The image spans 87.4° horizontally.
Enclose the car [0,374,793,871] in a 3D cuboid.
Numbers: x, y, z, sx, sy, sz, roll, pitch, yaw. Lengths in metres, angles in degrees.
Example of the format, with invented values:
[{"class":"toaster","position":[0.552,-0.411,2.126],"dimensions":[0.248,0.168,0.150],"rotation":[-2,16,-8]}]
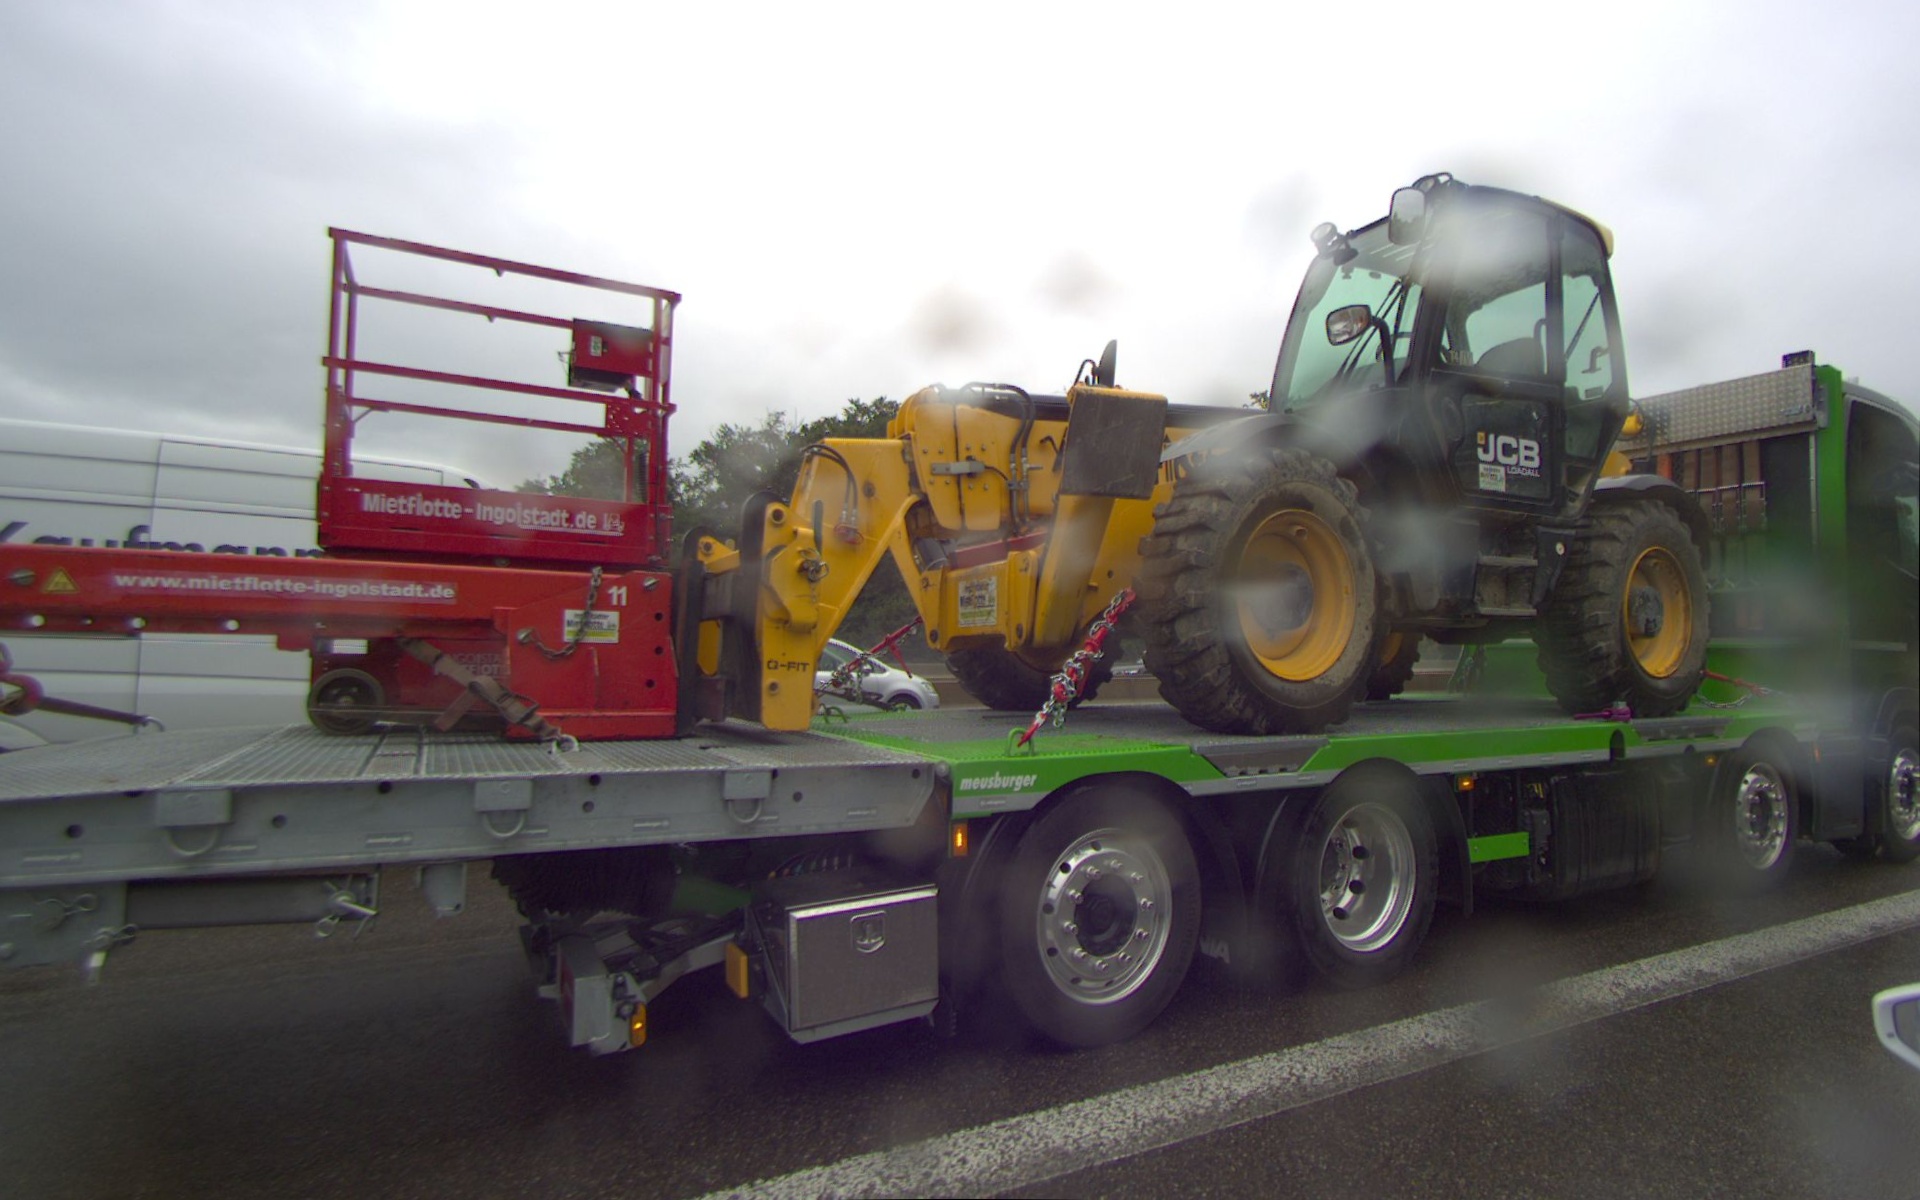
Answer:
[{"class":"car","position":[-4.307,0.206,7.074],"dimensions":[5.769,2.664,2.208],"rotation":[2,-3,-27]}]

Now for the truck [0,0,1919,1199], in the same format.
[{"class":"truck","position":[1.971,-0.252,5.681],"dimensions":[11.651,3.635,2.820],"rotation":[2,-3,-28]}]

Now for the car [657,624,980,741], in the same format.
[{"class":"car","position":[-2.306,1.315,16.852],"dimensions":[5.021,1.705,1.985],"rotation":[2,-3,-30]}]

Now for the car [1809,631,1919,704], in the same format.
[{"class":"car","position":[24.984,1.786,27.044],"dimensions":[4.106,1.822,1.984],"rotation":[2,-3,-31]}]
